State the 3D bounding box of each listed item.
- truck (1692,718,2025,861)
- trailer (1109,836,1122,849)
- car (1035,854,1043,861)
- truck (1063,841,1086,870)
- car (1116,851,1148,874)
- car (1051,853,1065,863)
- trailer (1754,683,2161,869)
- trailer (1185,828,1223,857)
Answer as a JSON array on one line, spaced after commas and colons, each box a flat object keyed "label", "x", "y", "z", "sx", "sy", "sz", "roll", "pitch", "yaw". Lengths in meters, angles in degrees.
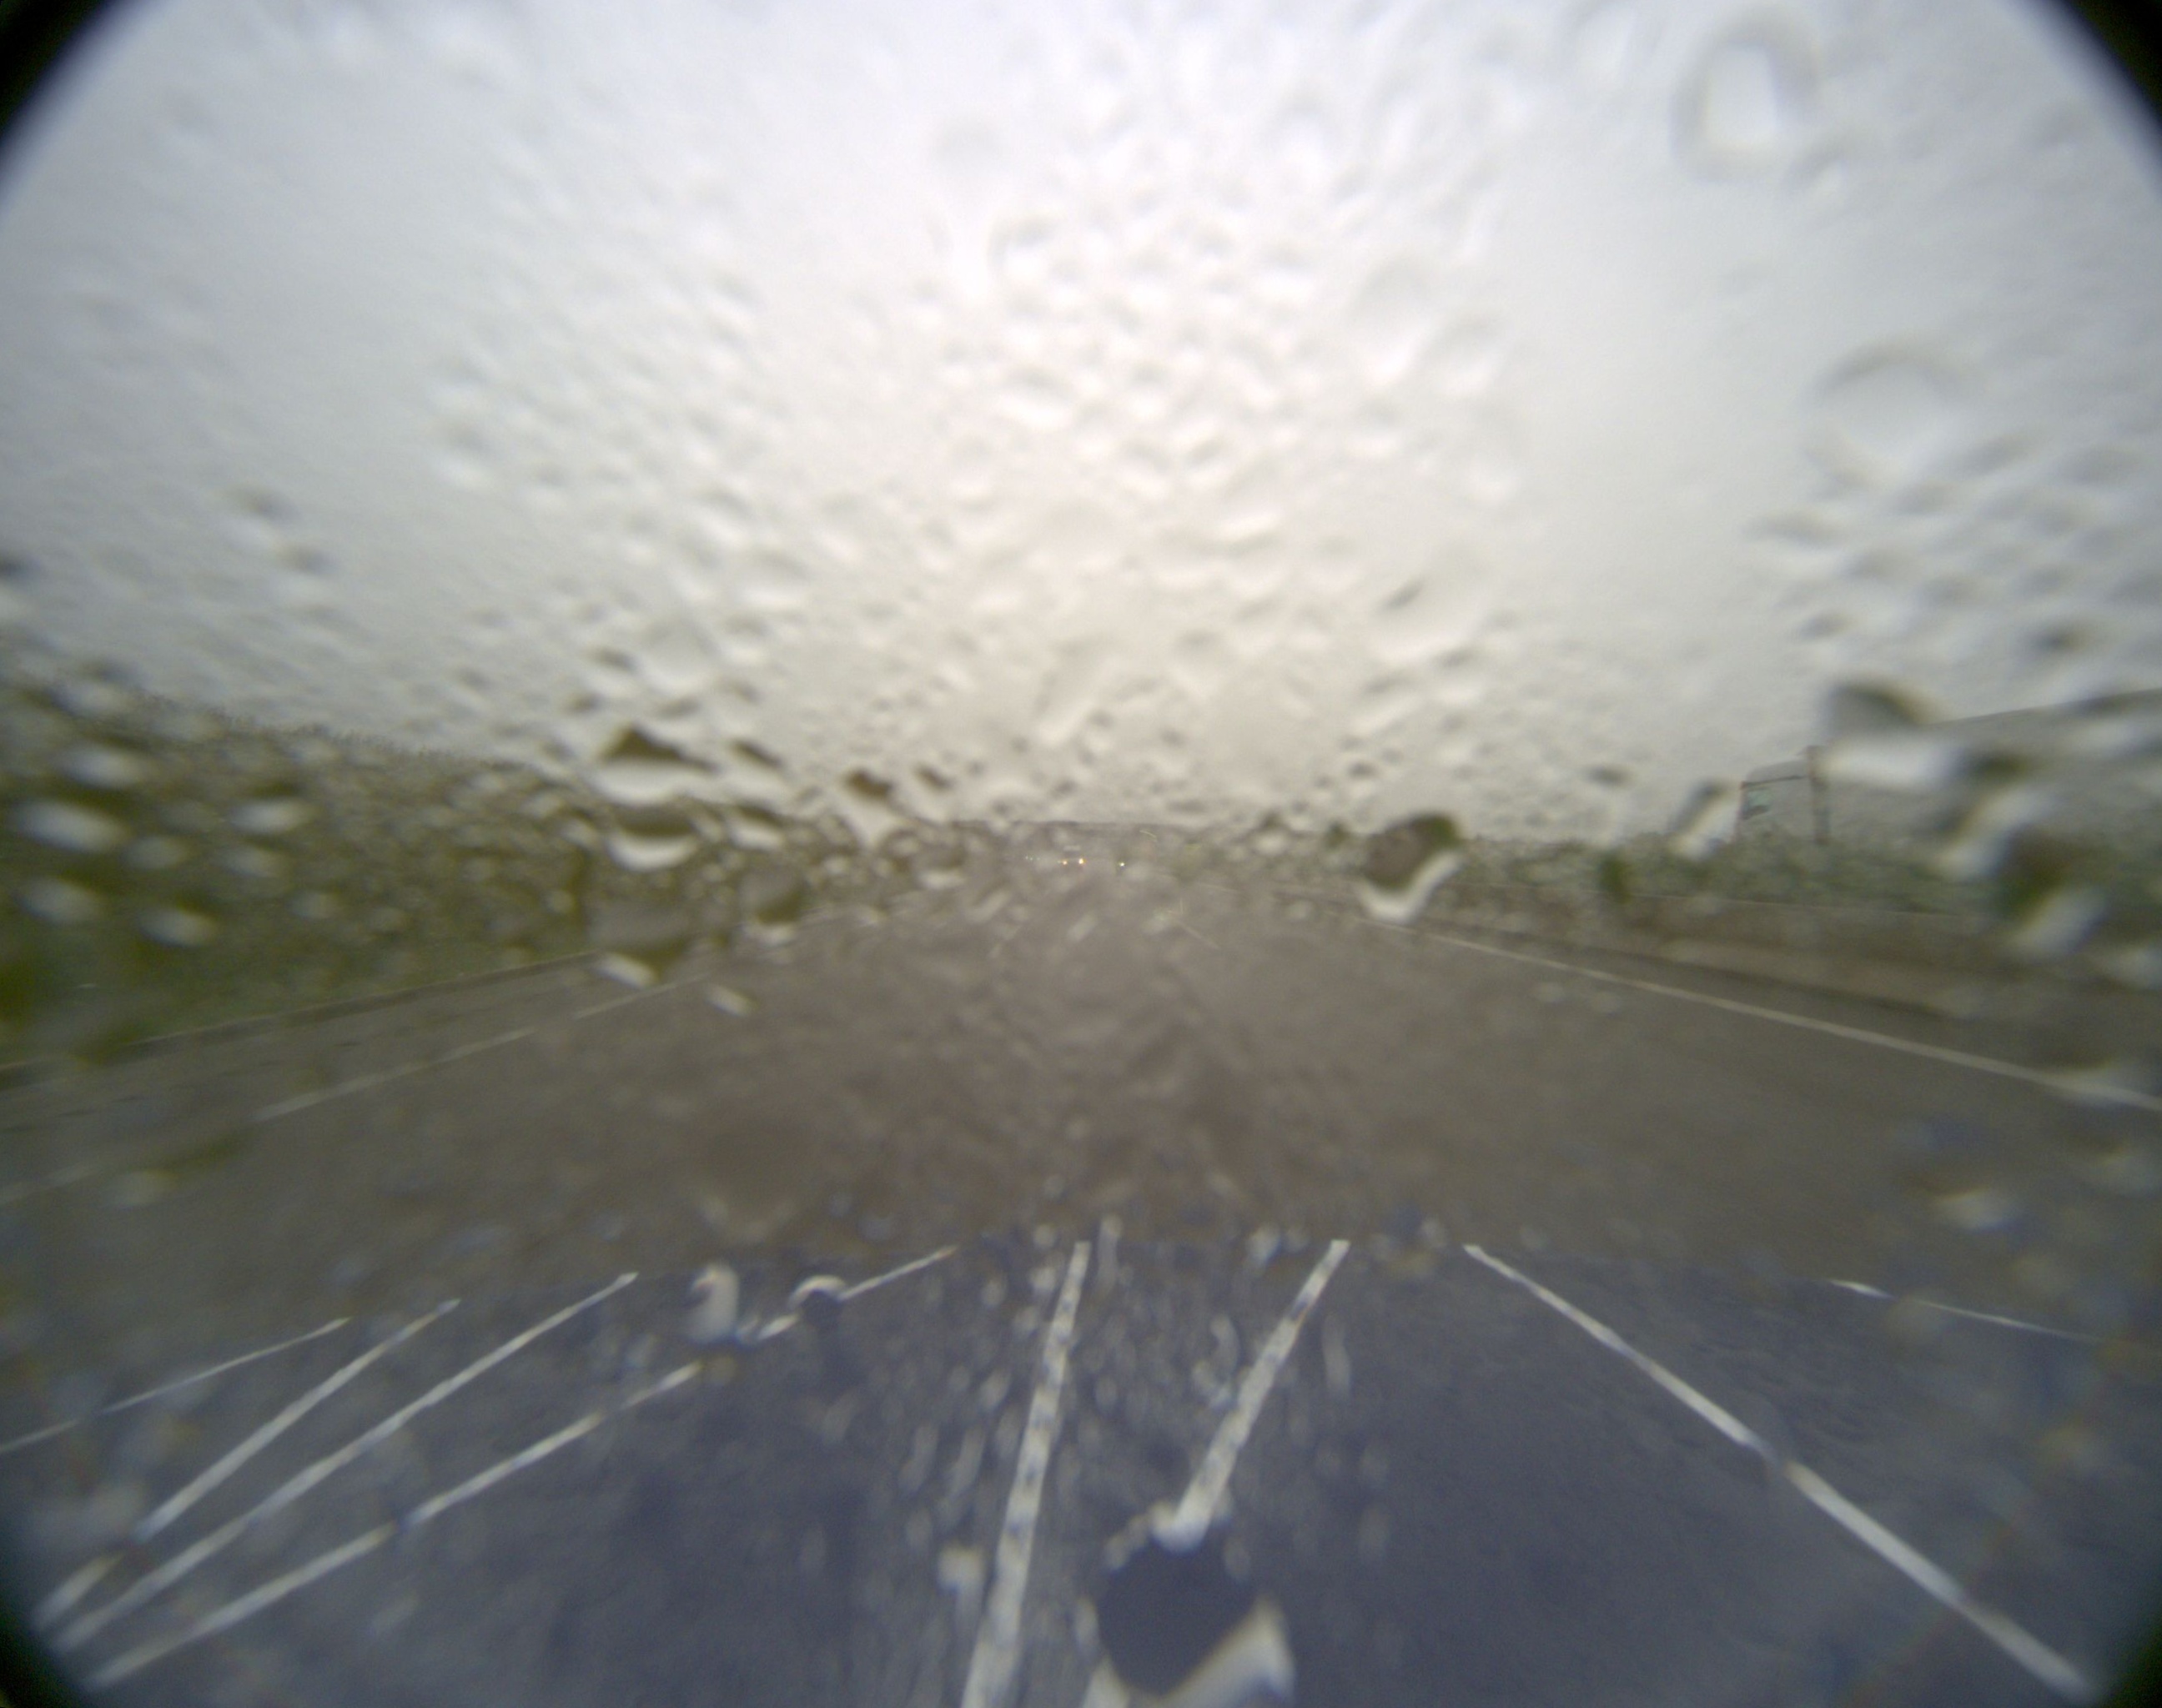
[{"label": "truck", "x": 19.768, "y": -1.523, "z": 19.928, "sx": 3.000, "sy": 3.106, "sz": 5.594, "roll": -2, "pitch": 2, "yaw": 0}, {"label": "trailer", "x": 10.028, "y": -3.381, "z": 222.837, "sx": 2.771, "sy": 3.600, "sz": 11.144, "roll": -2, "pitch": 2, "yaw": -2}, {"label": "car", "x": -10.978, "y": 0.921, "z": 198.151, "sx": 1.999, "sy": 1.543, "sz": 3.999, "roll": -2, "pitch": 0, "yaw": -2}, {"label": "truck", "x": -0.696, "y": 0.055, "z": 78.087, "sx": 1.999, "sy": 2.699, "sz": 7.996, "roll": -2, "pitch": 2, "yaw": -2}, {"label": "car", "x": 3.819, "y": 0.587, "z": 57.438, "sx": 1.999, "sy": 1.608, "sz": 3.999, "roll": -2, "pitch": 0, "yaw": -2}, {"label": "car", "x": -3.845, "y": 0.646, "z": 126.772, "sx": 1.999, "sy": 1.521, "sz": 3.998, "roll": -2, "pitch": 0, "yaw": -4}, {"label": "trailer", "x": 19.744, "y": -1.362, "z": 12.737, "sx": 2.995, "sy": 3.126, "sz": 15.715, "roll": -2, "pitch": 2, "yaw": 0}, {"label": "trailer", "x": 17.866, "y": -1.569, "z": 111.358, "sx": 2.952, "sy": 3.959, "sz": 14.303, "roll": -2, "pitch": 0, "yaw": -1}]
